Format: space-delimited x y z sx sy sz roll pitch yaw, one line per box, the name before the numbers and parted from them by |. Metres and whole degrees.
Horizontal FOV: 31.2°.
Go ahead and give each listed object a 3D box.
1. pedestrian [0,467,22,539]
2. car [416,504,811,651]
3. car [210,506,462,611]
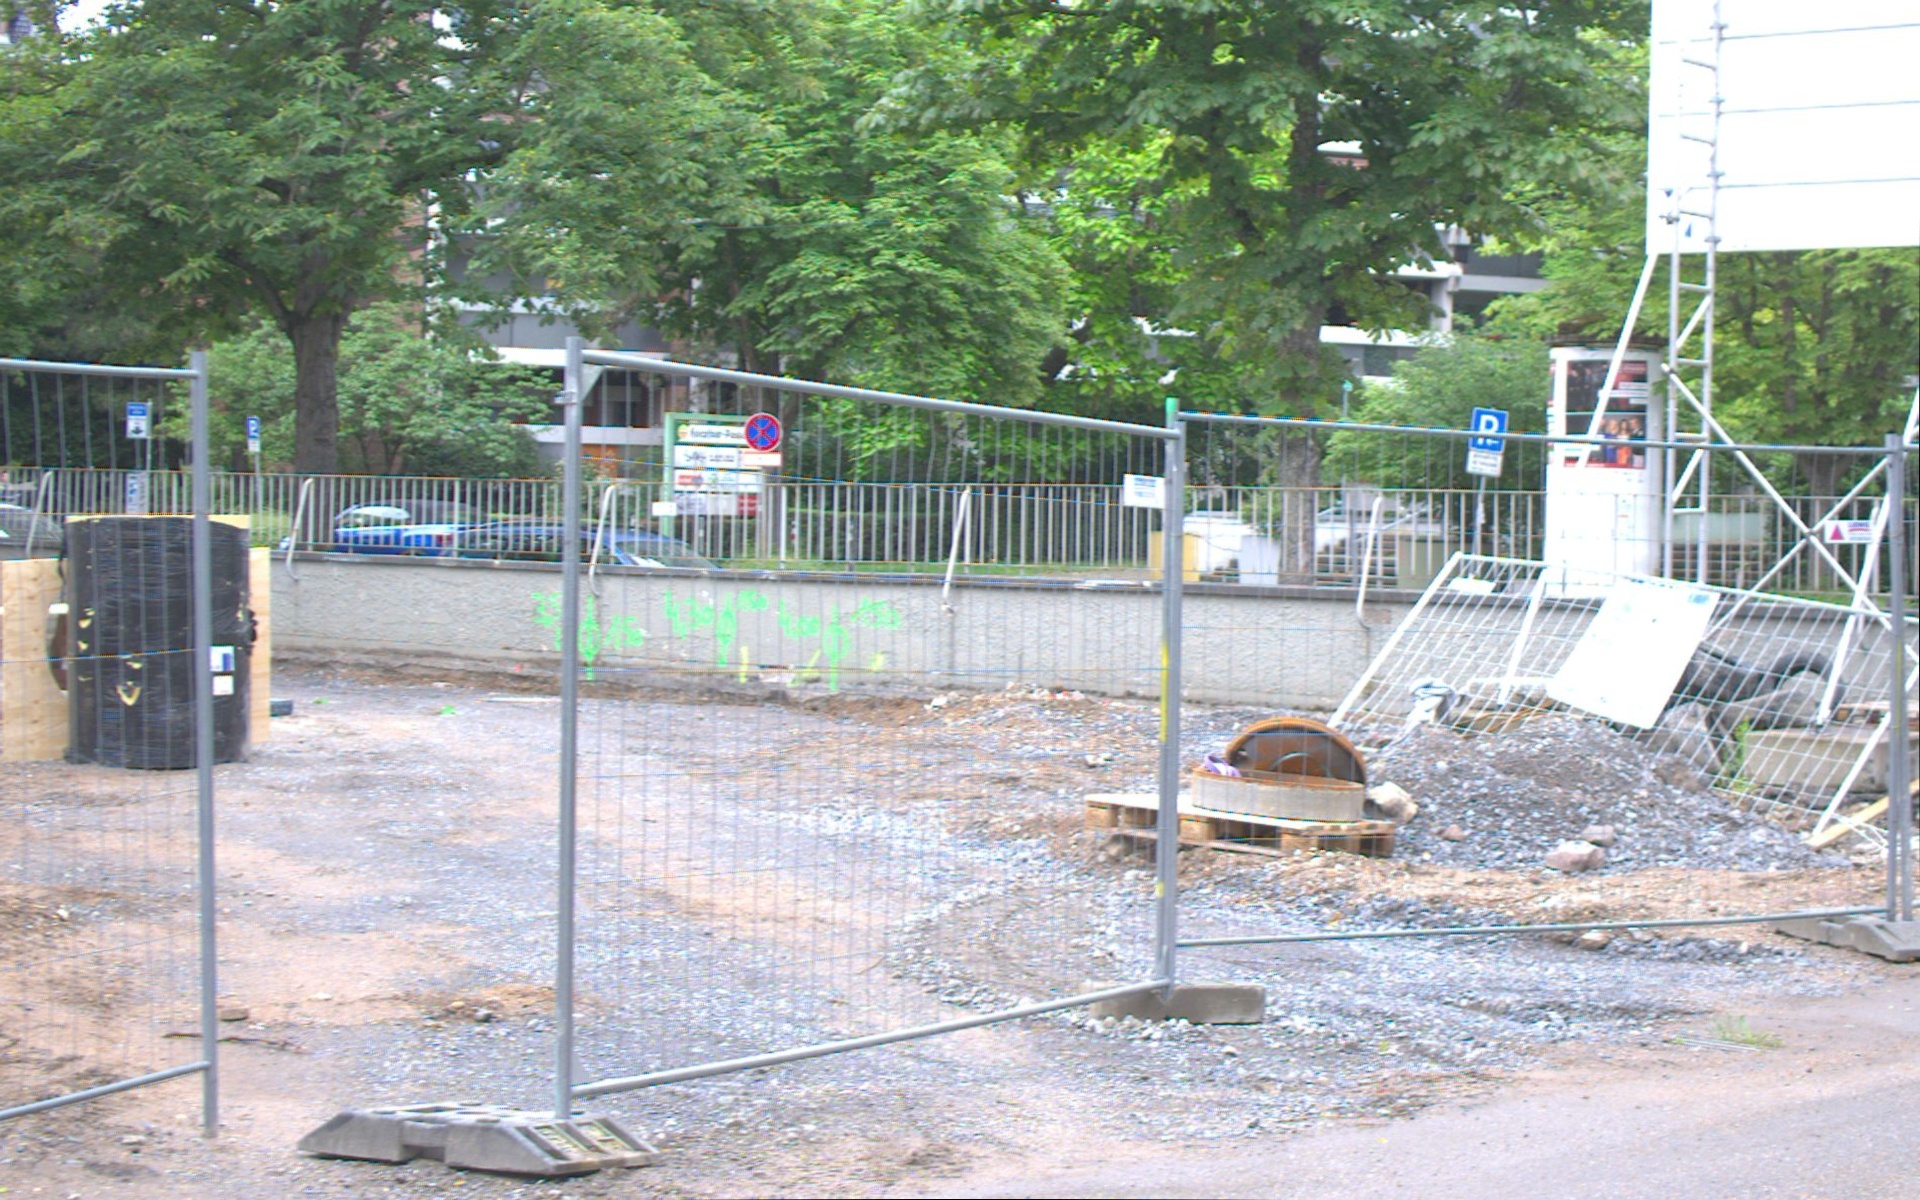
pedestrian | -20.571 -2.075 73.538 0.521 1.522 0.843 2 2 27
car | -3.701 -0.265 36.408 3.996 1.413 1.829 2 2 38
car | -9.663 -0.659 53.116 3.996 1.514 1.599 2 2 39
